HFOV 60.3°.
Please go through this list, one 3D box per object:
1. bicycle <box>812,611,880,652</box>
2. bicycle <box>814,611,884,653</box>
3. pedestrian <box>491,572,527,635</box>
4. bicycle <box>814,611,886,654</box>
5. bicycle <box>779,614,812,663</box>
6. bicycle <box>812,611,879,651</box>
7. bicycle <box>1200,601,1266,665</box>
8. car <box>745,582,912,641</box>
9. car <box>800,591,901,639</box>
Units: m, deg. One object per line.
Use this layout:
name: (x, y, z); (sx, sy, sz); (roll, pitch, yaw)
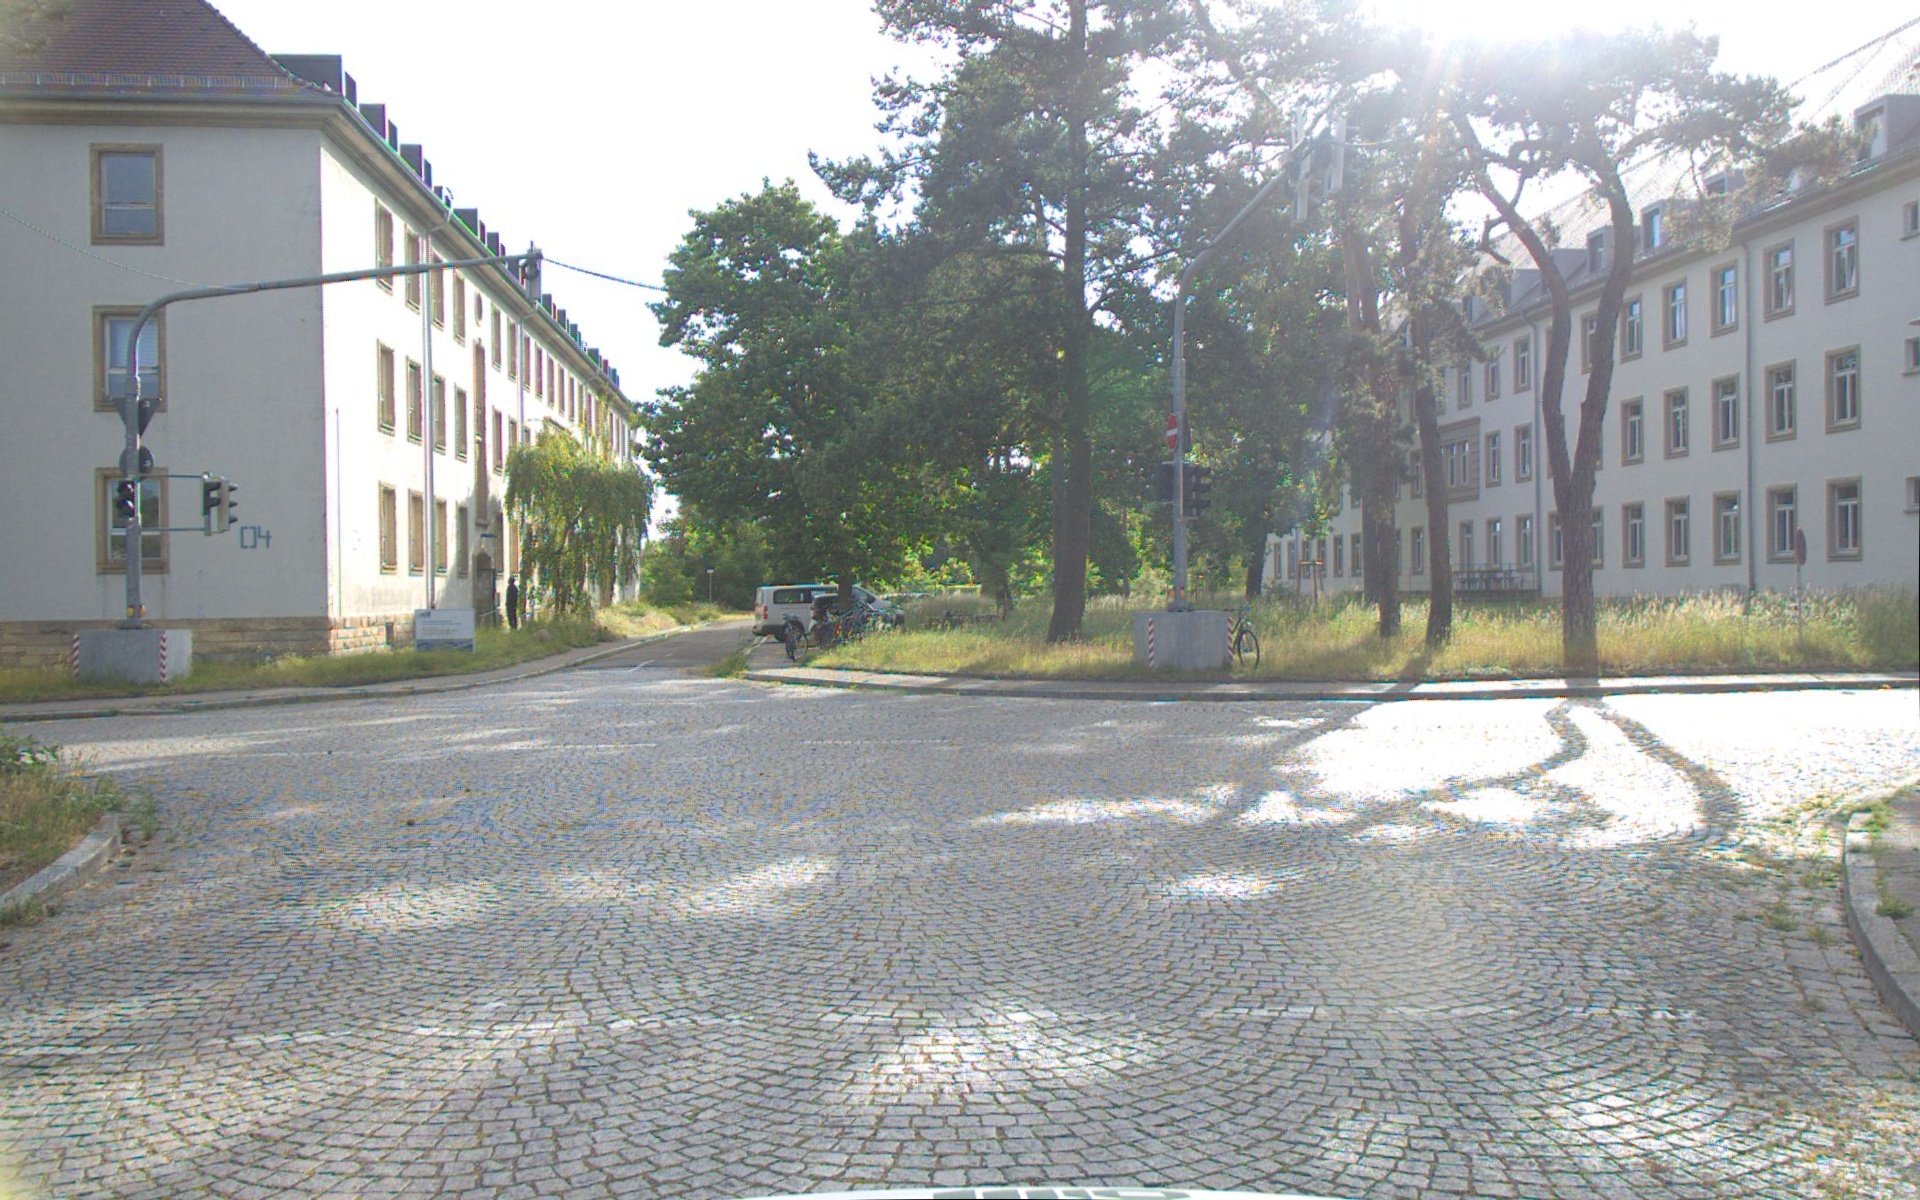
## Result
bicycle: (-3.026, 0.823, 43.955); (1.759, 1.016, 0.643); (-1, 1, -7)
bicycle: (-2.850, 0.814, 42.466); (1.759, 1.016, 0.643); (-1, 1, -7)
pedestrian: (-14.357, 0.109, 52.664); (0.966, 1.998, 0.931); (-1, -1, -6)
bicycle: (-2.752, 0.806, 41.451); (1.759, 1.016, 0.643); (-1, 1, -7)
bicycle: (-3.750, 0.864, 37.744); (0.714, 1.016, 1.797); (-1, 1, -5)
bicycle: (-3.089, 0.827, 44.690); (1.759, 1.016, 0.643); (-1, 1, -7)
bicycle: (4.603, 0.538, 27.977); (0.552, 1.016, 1.748); (-1, 1, -10)
car: (-4.563, 0.399, 57.268); (5.419, 1.949, 2.241); (0, -1, -20)
car: (-3.572, 0.497, 53.788); (2.985, 1.491, 1.711); (0, -1, -18)
